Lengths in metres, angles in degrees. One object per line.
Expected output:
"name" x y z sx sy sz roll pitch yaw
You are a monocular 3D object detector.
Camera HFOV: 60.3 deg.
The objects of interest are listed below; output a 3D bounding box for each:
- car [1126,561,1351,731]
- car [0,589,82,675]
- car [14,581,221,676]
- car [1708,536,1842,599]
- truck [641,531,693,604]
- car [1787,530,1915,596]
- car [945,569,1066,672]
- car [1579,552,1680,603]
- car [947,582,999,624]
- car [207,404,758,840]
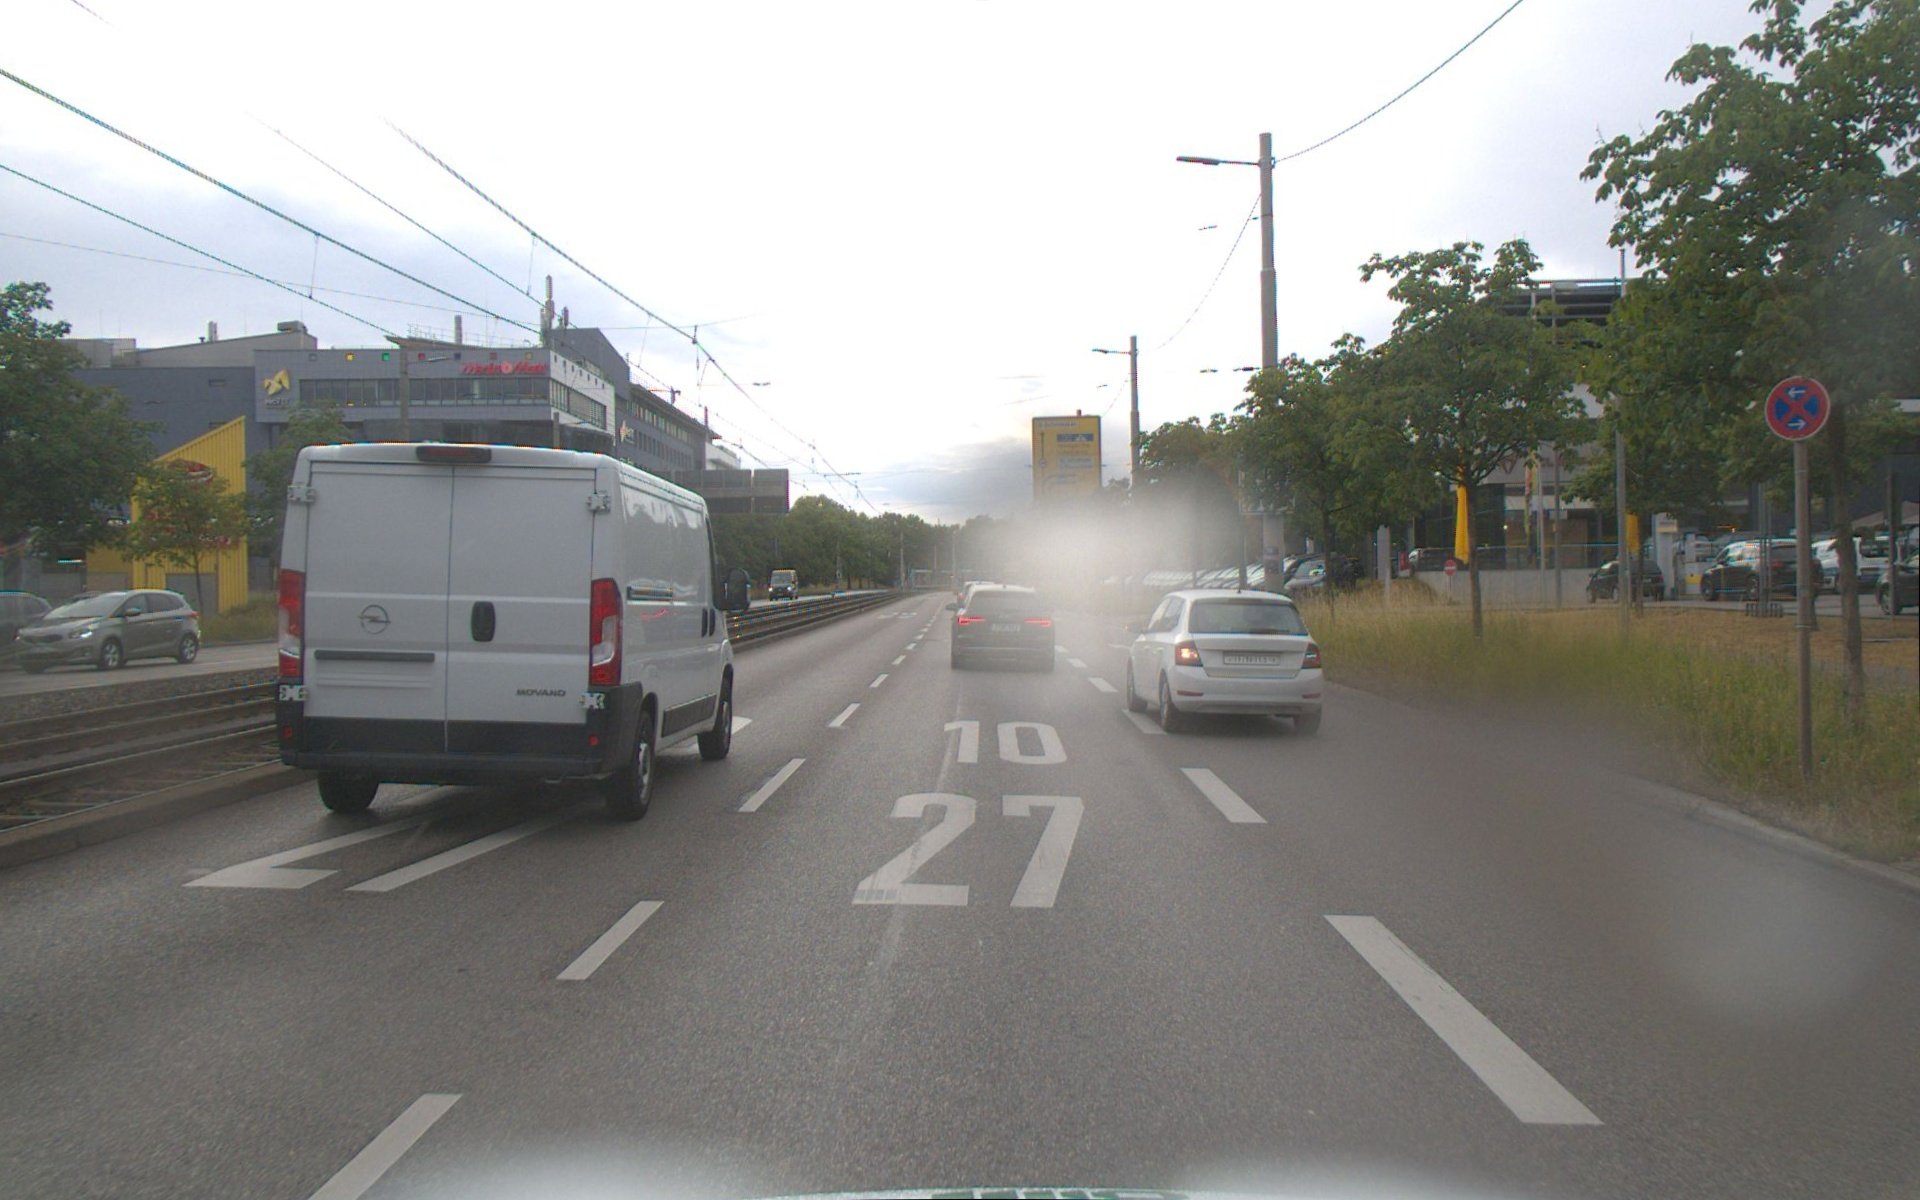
"car" 2.970 0.467 18.449 1.792 1.685 3.999 0 0 -1
"car" -20.829 0.689 35.079 1.763 1.774 4.494 -1 1 4
"car" -17.405 0.533 34.431 1.763 1.815 4.494 -1 1 4
"car" 23.840 -0.932 48.552 1.953 1.758 4.000 -1 1 0
"truck" -15.689 -1.685 88.885 2.117 3.709 6.865 1 0 -6
"car" 28.792 -1.177 53.577 1.953 2.049 4.000 -1 1 0
"car" 0.734 0.342 28.980 1.953 1.666 3.999 1 0 0
"car" 22.452 -0.741 55.648 1.755 1.619 4.000 -1 1 0
"car" 0.502 0.118 62.517 1.855 1.491 3.909 -1 0 1
"car" -2.961 0.093 11.678 2.395 2.334 4.905 2 1 0
